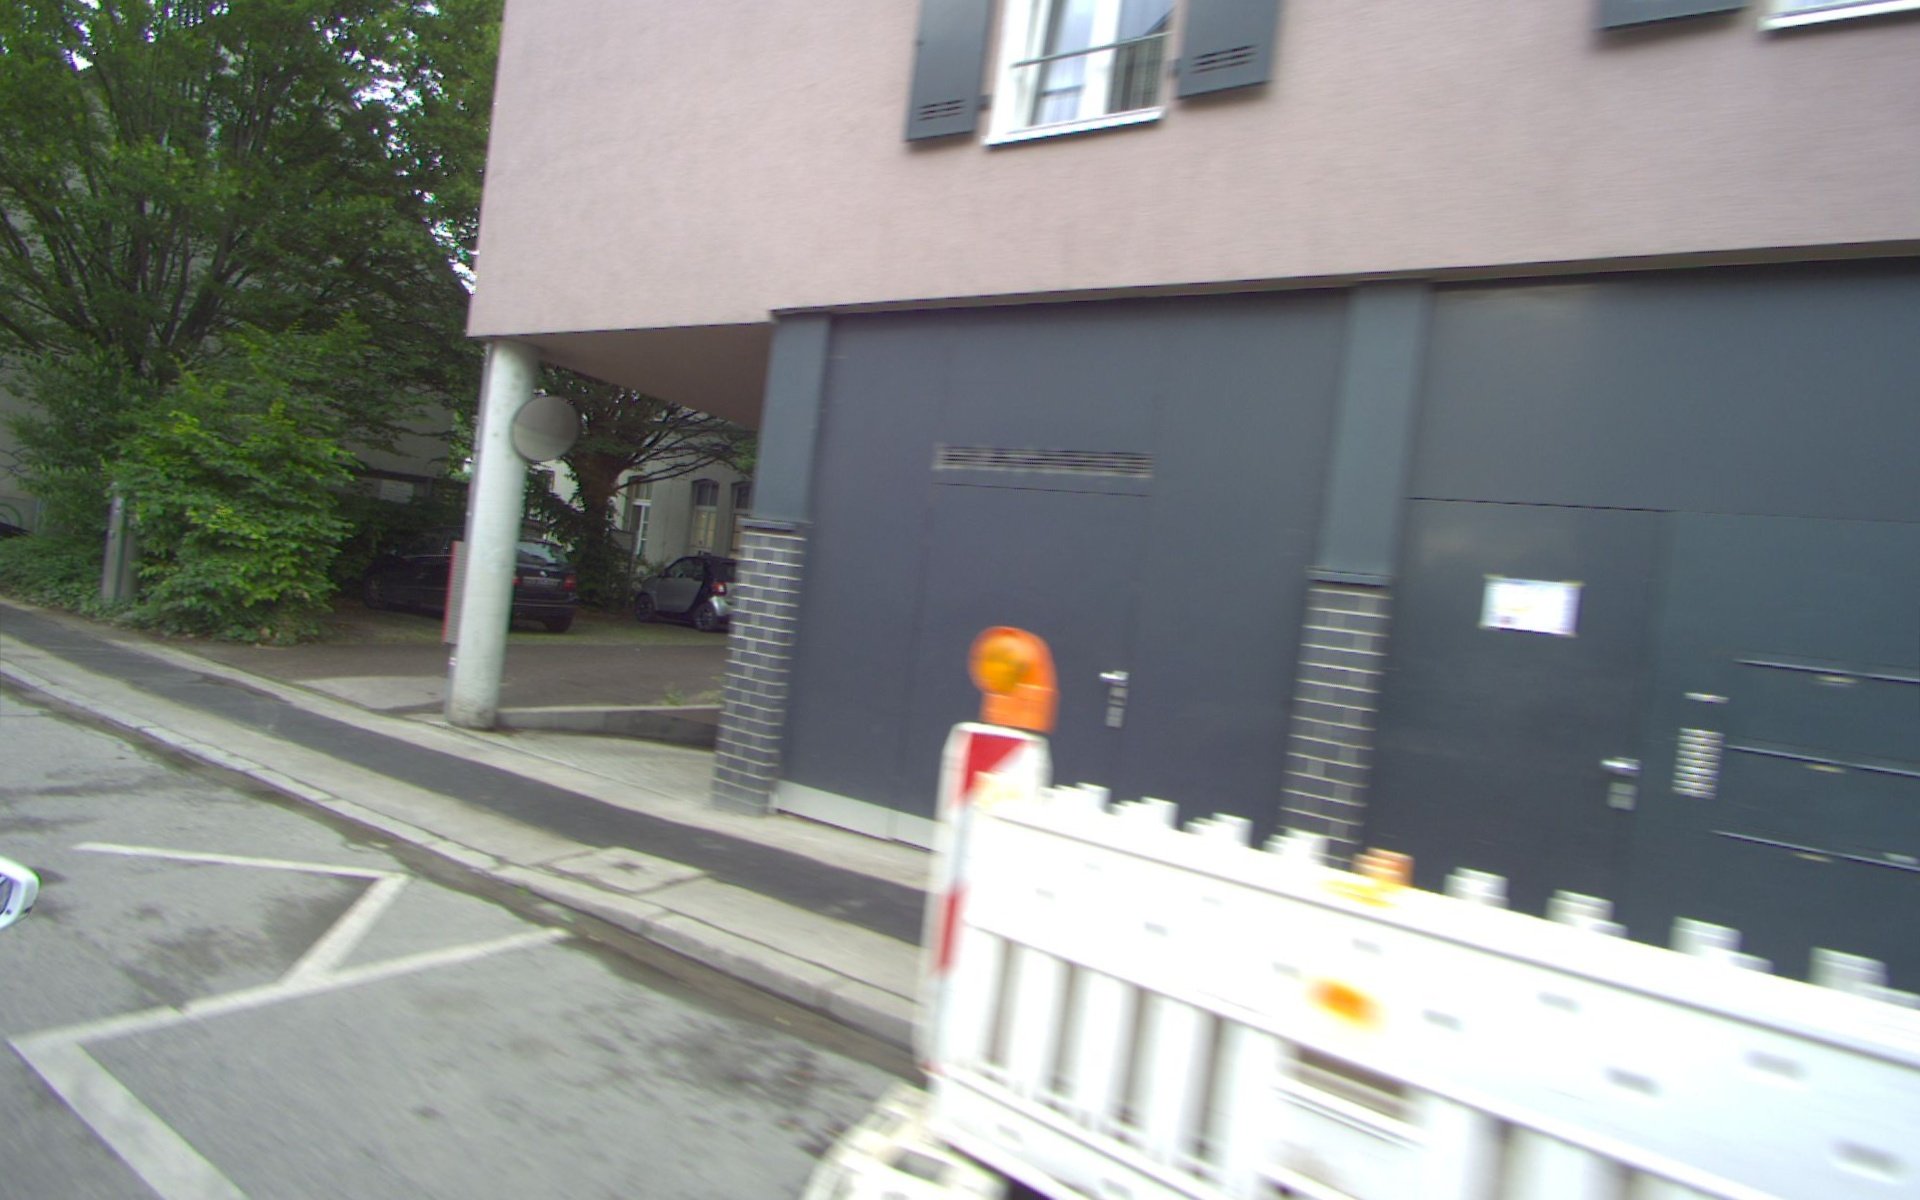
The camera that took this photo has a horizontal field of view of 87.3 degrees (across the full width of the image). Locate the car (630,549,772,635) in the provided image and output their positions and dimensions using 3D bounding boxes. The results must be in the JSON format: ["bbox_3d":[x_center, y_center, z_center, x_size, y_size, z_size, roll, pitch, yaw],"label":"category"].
[{"bbox_3d":[-5.576,-0.189,21.600,2.624,1.549,1.462,7,3,32],"label":"car"}]

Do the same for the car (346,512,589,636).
[{"bbox_3d":[-8.427,-0.461,17.166,3.930,1.606,1.637,8,3,28],"label":"car"}]
